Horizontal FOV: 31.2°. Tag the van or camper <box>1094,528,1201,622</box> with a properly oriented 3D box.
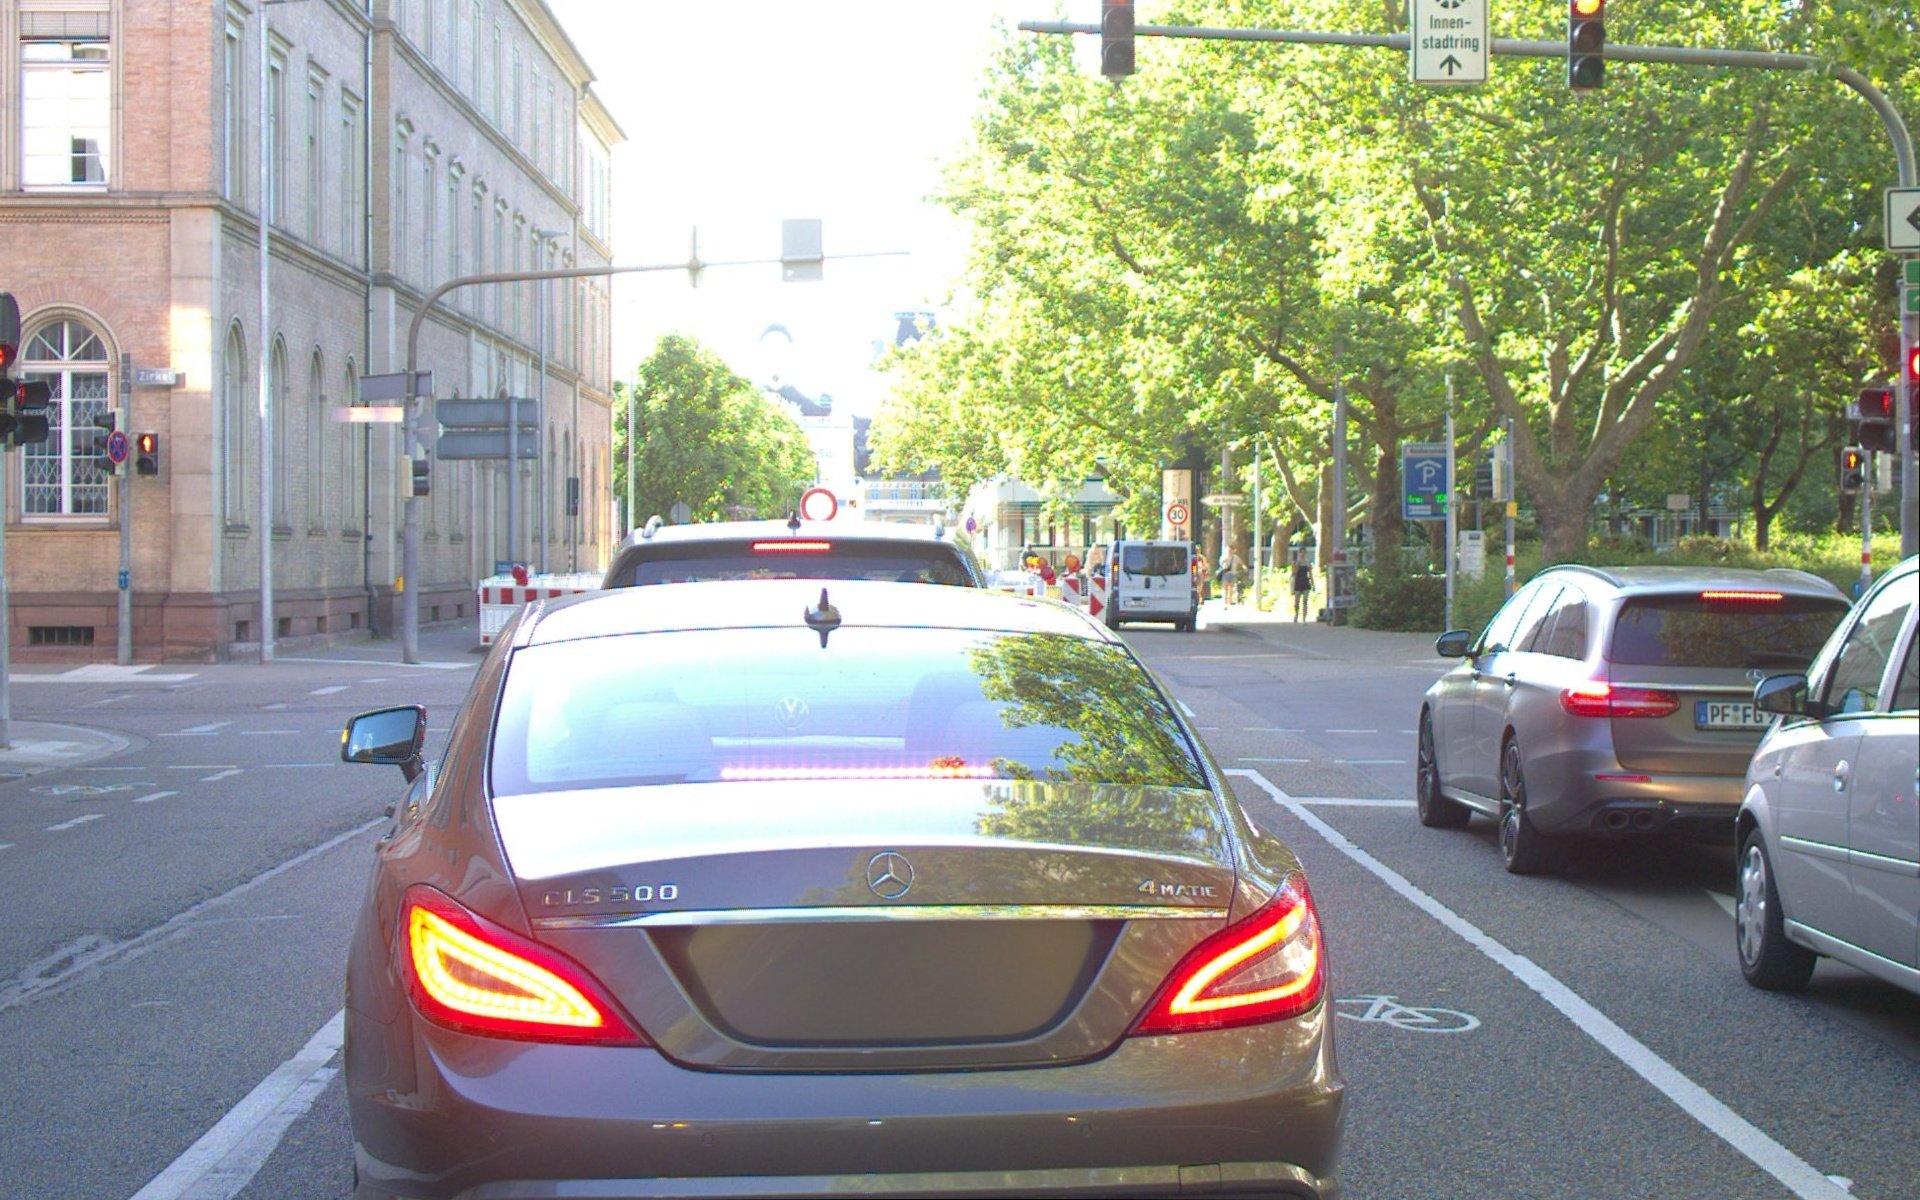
[{"bbox_3d":[3.992,-0.562,73.942,1.993,1.935,4.594,1,1,0],"label":"van or camper"}]

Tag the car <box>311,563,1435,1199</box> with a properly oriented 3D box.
[{"bbox_3d":[-0.411,0.663,7.661,1.803,1.451,4.352,0,1,-8],"label":"car"}]

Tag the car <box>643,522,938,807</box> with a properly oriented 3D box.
[{"bbox_3d":[-1.073,0.364,23.251,1.820,1.756,4.000,0,1,-1],"label":"car"}]

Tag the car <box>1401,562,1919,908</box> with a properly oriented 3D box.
[{"bbox_3d":[3.536,0.571,17.452,1.913,1.459,4.669,1,1,-1],"label":"car"}]

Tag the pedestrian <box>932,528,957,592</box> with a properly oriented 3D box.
[{"bbox_3d":[-0.496,-1.249,108.074,0.724,2.007,0.748,0,1,-4],"label":"pedestrian"}]

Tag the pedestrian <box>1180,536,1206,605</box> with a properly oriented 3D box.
[{"bbox_3d":[6.150,-0.785,90.728,0.603,1.815,0.651,1,1,-1],"label":"pedestrian"}]

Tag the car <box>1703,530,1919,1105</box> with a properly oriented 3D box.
[{"bbox_3d":[3.552,0.593,10.716,1.701,1.597,3.859,1,1,1],"label":"car"}]

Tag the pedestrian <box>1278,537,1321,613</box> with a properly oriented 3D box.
[{"bbox_3d":[7.151,-0.531,72.469,0.830,1.601,0.651,1,1,-1],"label":"pedestrian"}]

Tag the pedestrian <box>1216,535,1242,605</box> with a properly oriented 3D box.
[{"bbox_3d":[7.086,-0.787,90.473,0.603,1.815,0.651,1,1,-1],"label":"pedestrian"}]

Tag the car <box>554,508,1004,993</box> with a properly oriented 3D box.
[{"bbox_3d":[-0.707,0.484,13.672,1.517,1.641,3.881,1,1,-3],"label":"car"}]
